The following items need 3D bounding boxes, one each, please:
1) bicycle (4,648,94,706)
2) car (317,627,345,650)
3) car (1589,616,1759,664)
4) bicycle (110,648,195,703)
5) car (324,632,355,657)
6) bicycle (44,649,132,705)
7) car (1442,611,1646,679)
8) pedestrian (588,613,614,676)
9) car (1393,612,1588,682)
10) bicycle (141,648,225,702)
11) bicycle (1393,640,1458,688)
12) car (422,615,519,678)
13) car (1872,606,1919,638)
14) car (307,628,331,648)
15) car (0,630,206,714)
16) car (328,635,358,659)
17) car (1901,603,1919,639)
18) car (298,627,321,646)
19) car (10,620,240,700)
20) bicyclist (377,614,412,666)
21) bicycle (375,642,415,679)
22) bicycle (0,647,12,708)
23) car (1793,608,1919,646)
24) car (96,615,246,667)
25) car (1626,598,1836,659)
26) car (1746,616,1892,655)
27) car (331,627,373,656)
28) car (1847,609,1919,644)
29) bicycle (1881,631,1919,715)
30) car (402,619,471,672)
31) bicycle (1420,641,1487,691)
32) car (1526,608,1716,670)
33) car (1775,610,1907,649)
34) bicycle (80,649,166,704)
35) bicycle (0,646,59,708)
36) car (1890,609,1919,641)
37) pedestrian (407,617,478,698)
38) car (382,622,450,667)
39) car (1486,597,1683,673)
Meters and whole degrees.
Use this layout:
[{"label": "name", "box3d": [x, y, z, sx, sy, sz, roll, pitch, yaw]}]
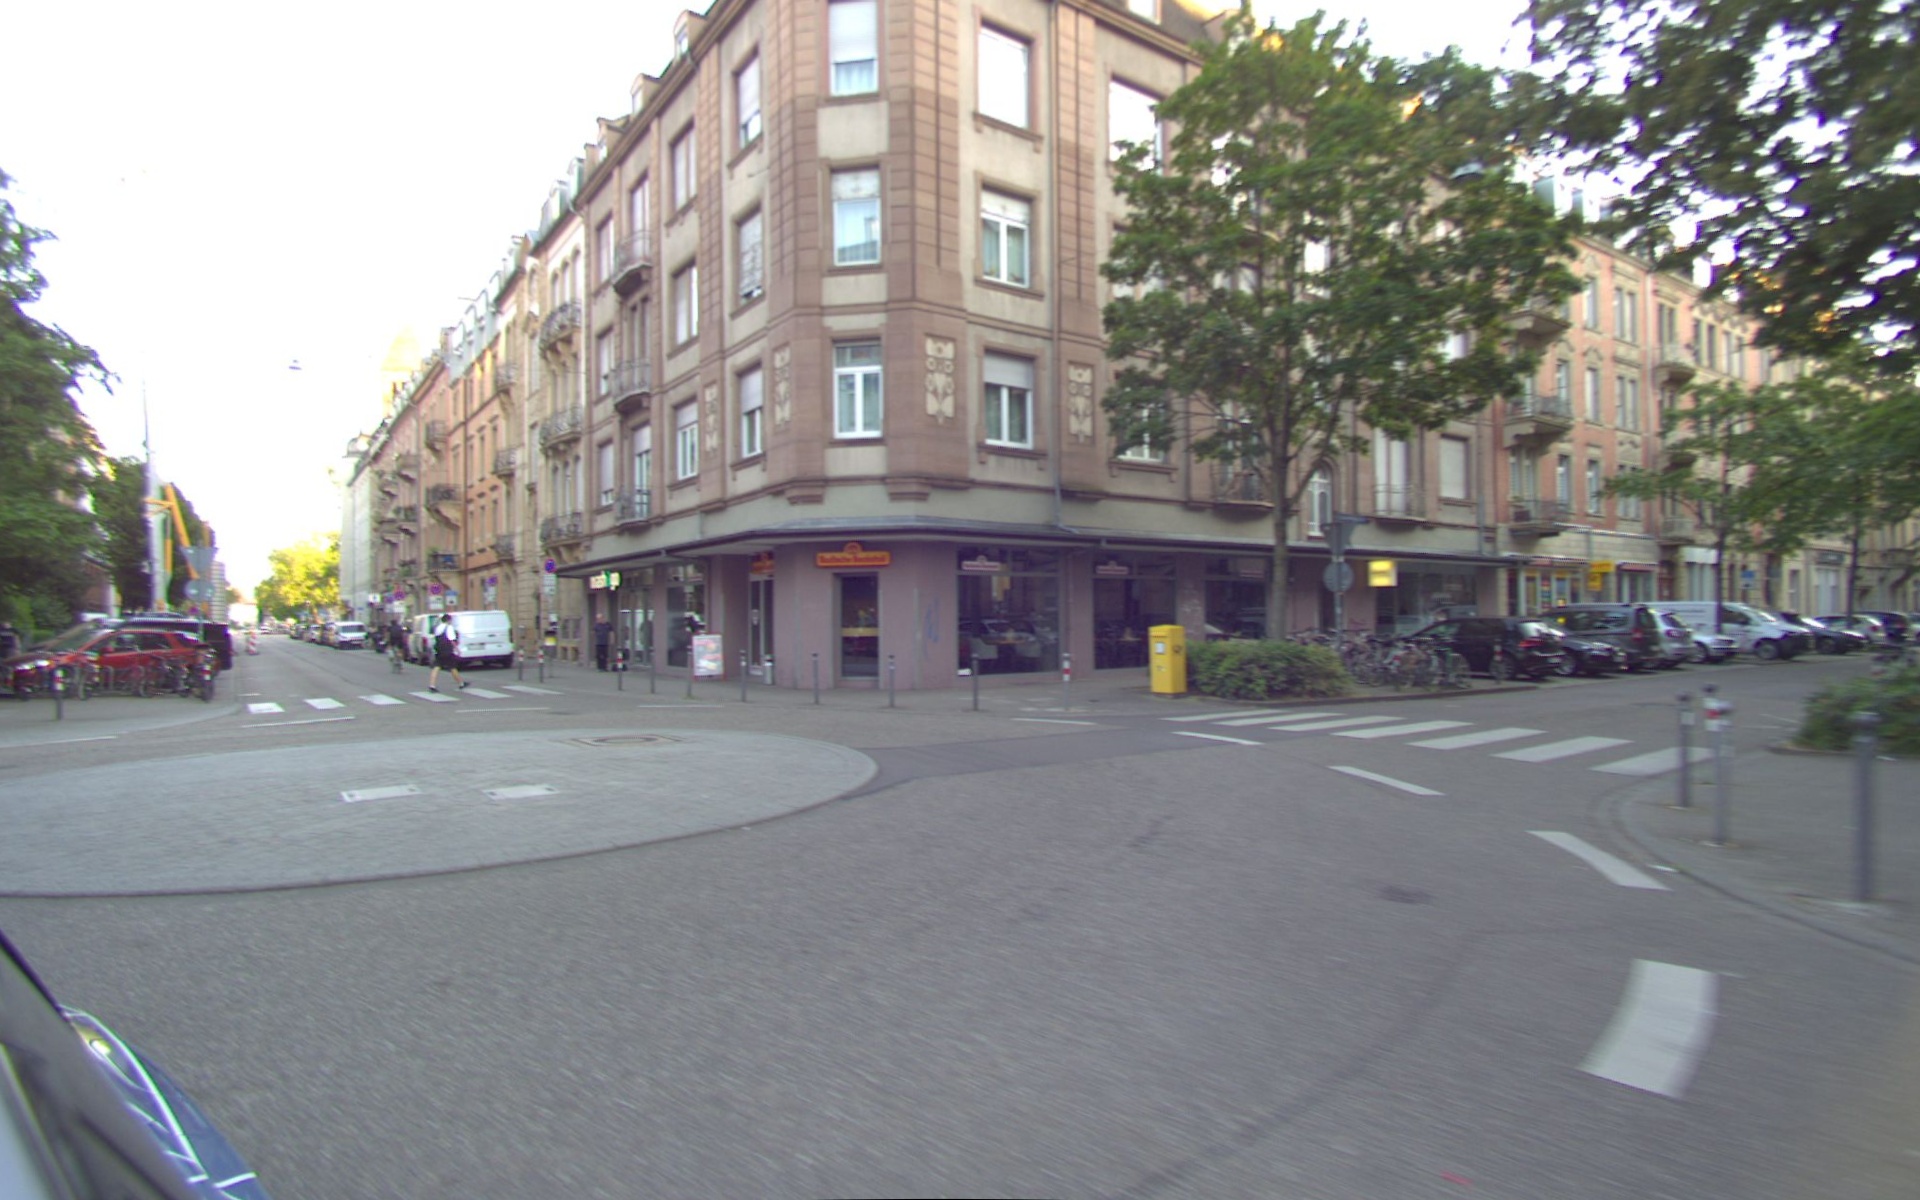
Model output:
[{"label": "bicycle", "box3d": [-19.004, 1.585, 21.096, 2.105, 1.140, 0.659, -1, -3, 27]}, {"label": "car", "box3d": [-51.952, 3.149, 83.566, 1.966, 1.752, 4.011, -1, 0, -32]}, {"label": "car", "box3d": [21.226, 1.145, 30.201, 1.692, 1.322, 3.821, 1, -1, -36]}, {"label": "bicycle", "box3d": [-18.365, 1.689, 23.001, 2.105, 1.178, 0.659, -1, -3, 27]}, {"label": "car", "box3d": [-48.872, 3.456, 79.667, 1.966, 1.752, 4.011, -1, 0, -32]}, {"label": "bicycle", "box3d": [-18.737, 1.631, 21.729, 2.105, 1.140, 0.659, -1, -3, 27]}, {"label": "car", "box3d": [14.418, 1.053, 25.153, 1.822, 1.522, 4.009, 1, -1, -37]}, {"label": "pedestrian", "box3d": [-10.511, 1.291, 29.630, 0.644, 1.792, 0.694, -1, -2, -18]}, {"label": "car", "box3d": [12.328, 1.035, 23.704, 1.693, 1.488, 3.696, 1, -1, -36]}, {"label": "bicycle", "box3d": [-17.838, 1.704, 23.224, 2.105, 1.178, 0.659, -1, -3, 27]}, {"label": "bicycle", "box3d": [9.564, 1.303, 20.794, 1.464, 0.902, 0.478, -1, 0, -32]}, {"label": "car", "box3d": [-16.965, 1.540, 34.942, 2.108, 1.973, 4.780, -1, -1, -37]}, {"label": "car", "box3d": [45.932, 1.038, 47.893, 1.692, 1.519, 3.821, 1, -1, -36]}, {"label": "car", "box3d": [-60.770, 3.609, 95.970, 1.838, 1.752, 3.810, -1, 0, -32]}, {"label": "car", "box3d": [-20.635, 1.617, 24.067, 1.816, 1.680, 3.969, -1, 0, 23]}, {"label": "car", "box3d": [-46.534, 3.512, 76.307, 1.810, 1.654, 3.936, -1, 0, -32]}, {"label": "car", "box3d": [49.726, 1.033, 50.211, 1.966, 1.798, 4.012, -1, 0, -31]}, {"label": "car", "box3d": [-64.448, 3.613, 100.276, 1.878, 1.752, 3.861, -1, 0, -32]}, {"label": "car", "box3d": [-25.550, 1.746, 31.202, 2.108, 2.113, 5.096, -1, 0, 29]}, {"label": "bicyclist", "box3d": [-18.581, 1.319, 33.251, 0.743, 1.653, 1.203, 0, -2, -41]}, {"label": "bicycle", "box3d": [-18.564, 1.976, 33.236, 0.743, 1.139, 1.979, 0, -2, -41]}, {"label": "bicycle", "box3d": [-19.603, 1.500, 19.928, 2.105, 1.174, 0.659, -1, -3, 27]}, {"label": "car", "box3d": [37.861, 1.114, 42.758, 1.692, 1.519, 3.821, 1, -1, -36]}, {"label": "car", "box3d": [-37.099, 1.868, 47.756, 2.329, 2.211, 5.096, -1, 0, 29]}, {"label": "car", "box3d": [25.221, 0.887, 33.330, 2.082, 1.844, 5.123, 1, -1, -32]}, {"label": "car", "box3d": [31.621, 1.273, 37.352, 1.692, 1.322, 3.821, 1, -1, -36]}, {"label": "car", "box3d": [-40.682, 2.733, 67.677, 2.107, 1.835, 4.551, 0, -1, -35]}, {"label": "car", "box3d": [42.178, 1.194, 44.986, 1.692, 1.519, 3.821, 1, -1, -36]}, {"label": "bicycle", "box3d": [14.434, 1.076, 15.253, 0.706, 1.185, 1.924, -4, -3, 44]}, {"label": "car", "box3d": [-20.556, 1.730, 39.666, 1.849, 1.918, 4.337, -1, -1, -35]}, {"label": "bicycle", "box3d": [9.869, 1.308, 20.224, 1.464, 0.902, 0.478, -1, 0, -32]}, {"label": "car", "box3d": [18.233, 1.035, 28.062, 1.877, 1.586, 4.010, 1, -1, -36]}, {"label": "car", "box3d": [36.107, 1.196, 41.562, 1.692, 1.519, 3.821, 1, -1, -36]}, {"label": "bicycle", "box3d": [-18.480, 1.669, 22.339, 2.105, 1.140, 0.659, -1, -3, 27]}, {"label": "bicycle", "box3d": [-19.256, 1.540, 20.562, 2.105, 1.174, 0.659, -1, -3, 27]}, {"label": "car", "box3d": [47.611, 1.211, 48.798, 1.692, 1.519, 3.821, 1, -1, -36]}, {"label": "pedestrian", "box3d": [-11.663, 1.270, 22.830, 0.746, 1.757, 1.201, -2, -1, 29]}, {"label": "car", "box3d": [-23.972, 1.912, 44.513, 2.107, 1.835, 4.552, -1, -1, -35]}, {"label": "car", "box3d": [16.464, 0.885, 26.835, 1.967, 1.852, 4.010, 1, -1, -36]}]
